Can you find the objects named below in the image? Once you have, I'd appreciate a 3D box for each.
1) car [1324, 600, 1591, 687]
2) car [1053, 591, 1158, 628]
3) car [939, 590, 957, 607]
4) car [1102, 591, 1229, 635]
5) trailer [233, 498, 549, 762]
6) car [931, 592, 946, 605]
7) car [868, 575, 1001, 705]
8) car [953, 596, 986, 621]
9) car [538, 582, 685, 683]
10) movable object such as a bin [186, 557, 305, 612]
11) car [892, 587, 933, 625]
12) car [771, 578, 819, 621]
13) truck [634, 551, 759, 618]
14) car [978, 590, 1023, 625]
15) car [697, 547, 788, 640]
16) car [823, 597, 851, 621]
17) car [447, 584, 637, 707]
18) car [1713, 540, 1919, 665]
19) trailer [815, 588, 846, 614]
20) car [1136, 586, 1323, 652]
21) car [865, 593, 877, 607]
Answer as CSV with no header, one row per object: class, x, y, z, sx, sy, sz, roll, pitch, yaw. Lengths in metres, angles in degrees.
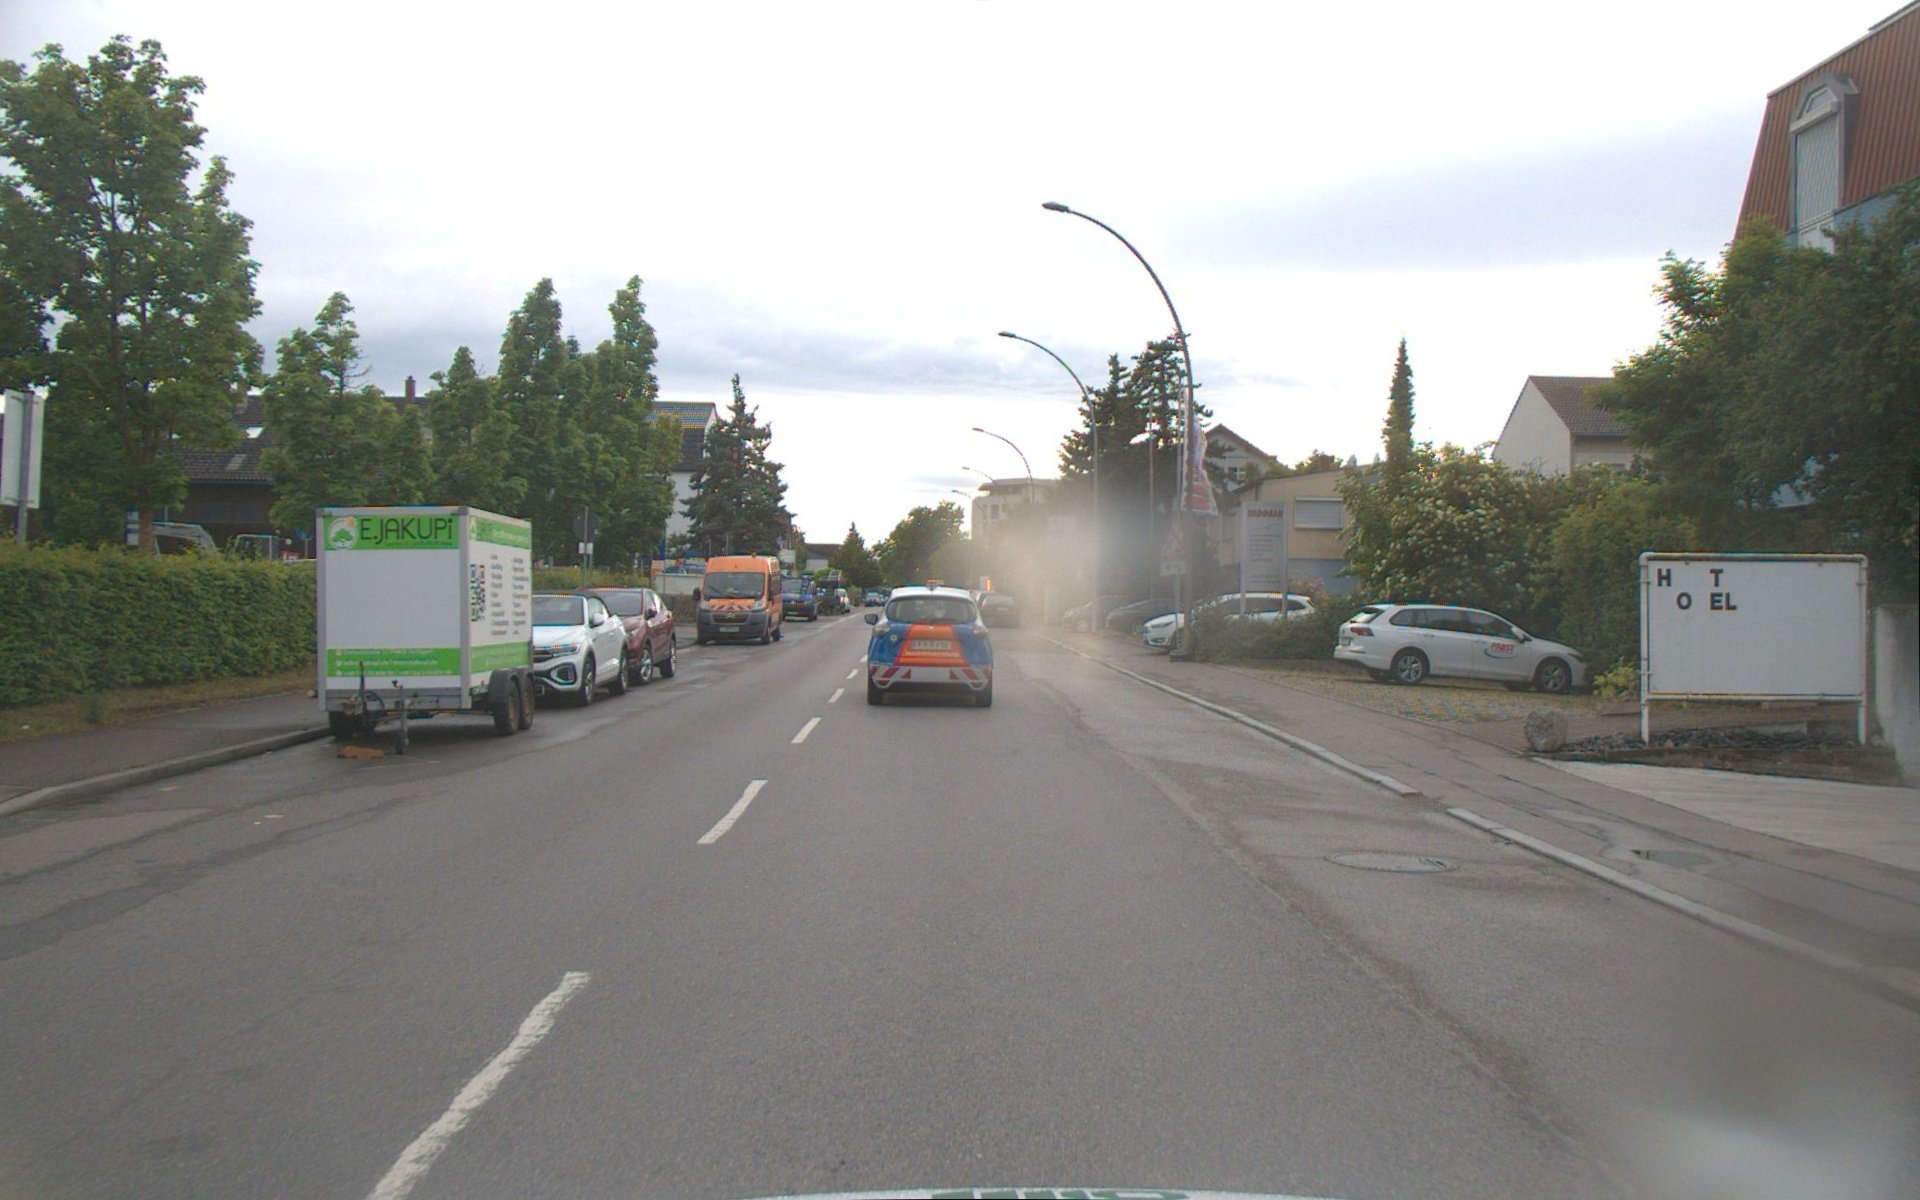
car,9.117,0.785,30.513,4.327,1.417,1.879,2,0,-3
car,5.747,0.376,65.828,3.908,1.288,1.950,2,0,-3
car,-1.247,-0.169,173.318,1.617,1.701,3.997,2,0,-3
car,6.690,0.434,54.178,3.905,1.288,1.951,2,0,0
trailer,-5.764,0.254,17.415,1.776,2.354,4.728,-2,0,-2
car,-2.667,-0.169,205.216,1.617,1.509,3.997,2,0,-3
car,-0.393,0.526,23.165,1.697,1.659,3.493,1,0,-2
car,0.569,0.504,102.984,1.678,1.463,4.523,2,0,-4
car,-5.932,0.498,28.609,1.769,1.601,4.341,0,1,-2
movable object such as a bin,-25.179,-0.519,58.375,3.357,1.790,1.996,2,0,-8
car,-2.050,0.251,70.509,1.617,1.548,3.997,2,0,-3
car,-7.928,-0.020,79.955,1.953,1.981,5.363,1,0,-2
truck,-13.158,-0.780,82.973,5.791,3.127,2.449,2,0,-1
car,1.721,0.305,71.012,1.558,1.364,4.090,3,0,-3
car,-6.312,-0.203,48.674,2.082,2.582,6.020,0,0,-2
car,-7.816,0.596,105.636,1.526,1.458,3.999,2,0,-1
car,-5.756,0.560,23.243,1.736,1.525,4.135,1,1,-2
car,13.885,0.060,25.851,1.954,1.771,4.426,2,0,-4
trailer,-7.631,0.042,97.819,1.683,1.282,5.242,2,2,-3
car,6.629,0.464,40.956,4.251,1.501,1.902,1,0,-3
car,-9.872,0.009,183.801,1.358,1.509,3.781,1,0,-3
